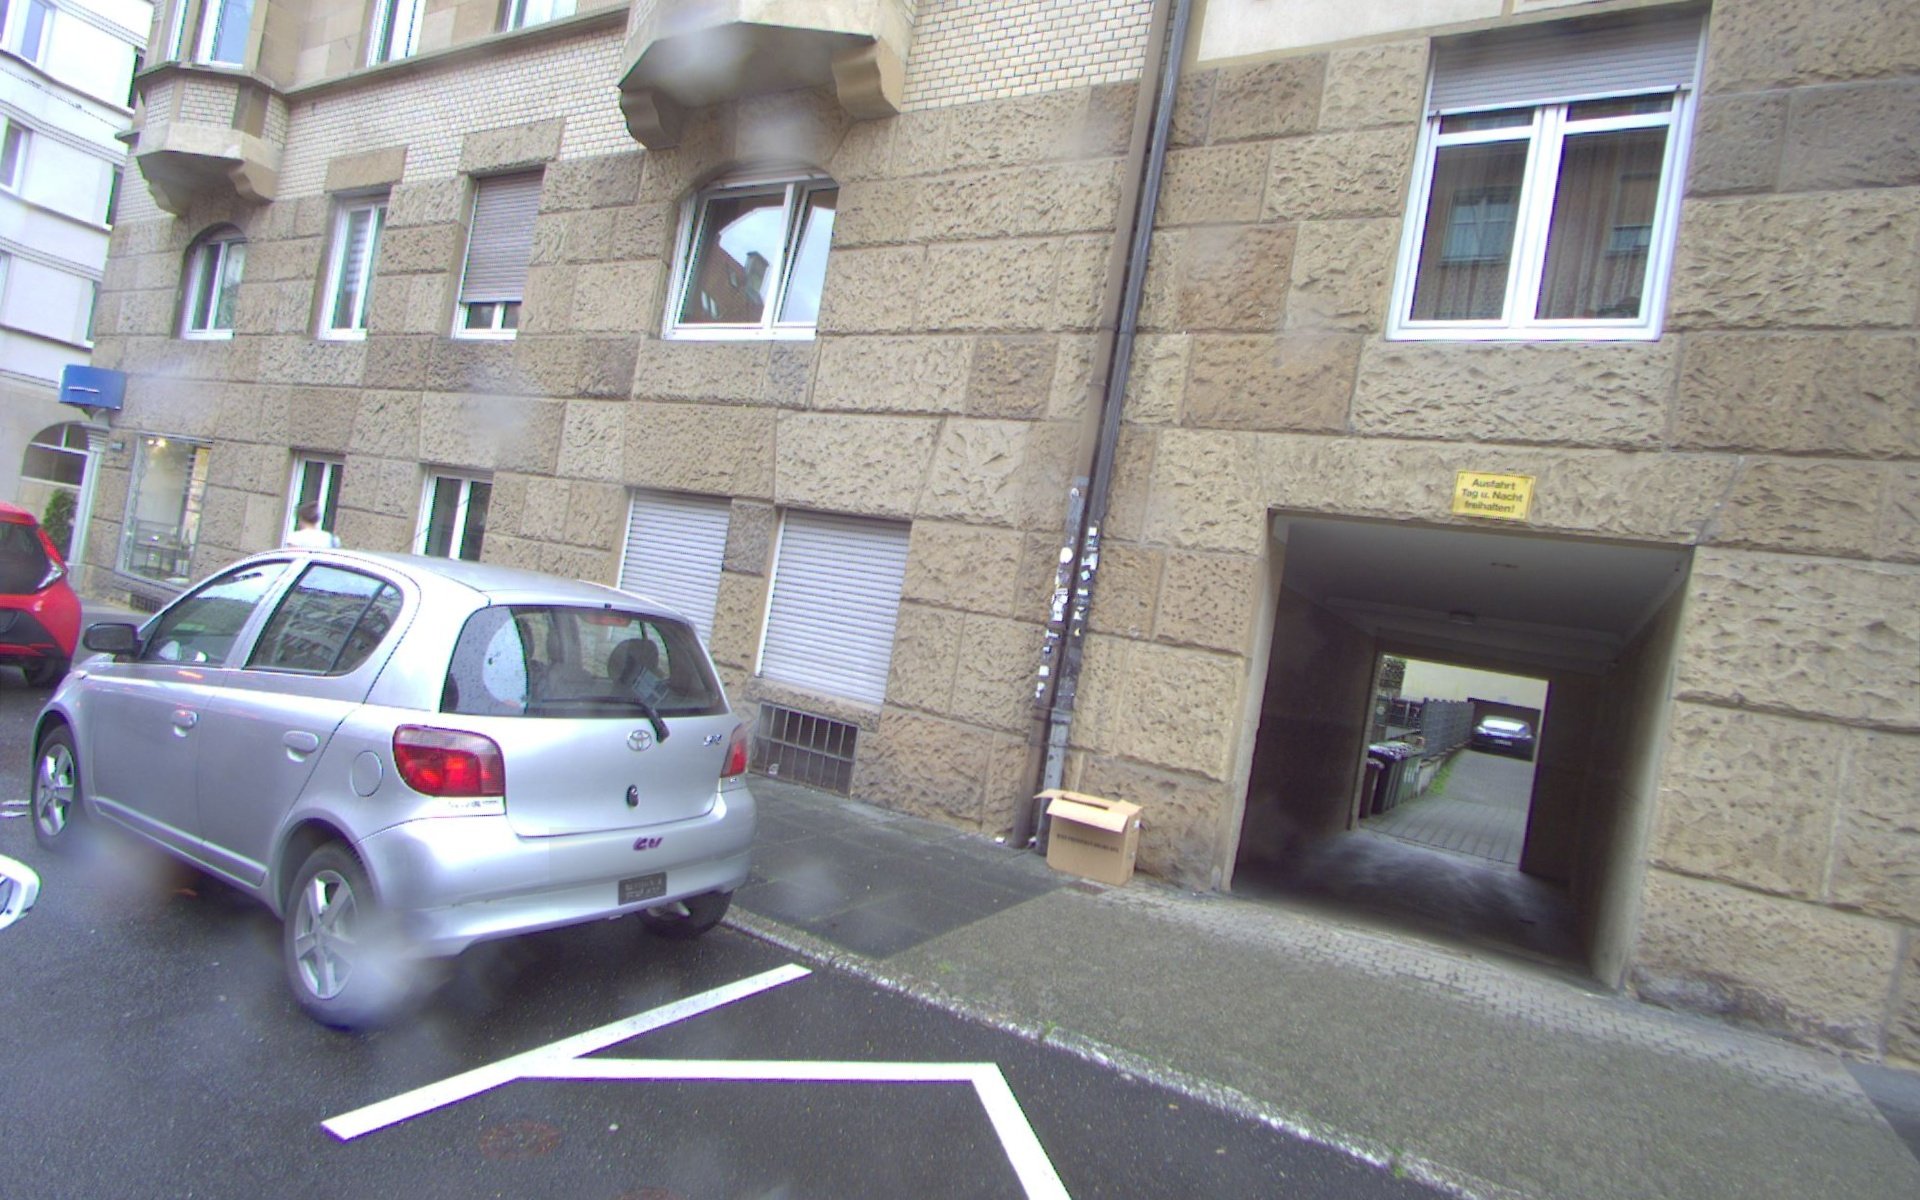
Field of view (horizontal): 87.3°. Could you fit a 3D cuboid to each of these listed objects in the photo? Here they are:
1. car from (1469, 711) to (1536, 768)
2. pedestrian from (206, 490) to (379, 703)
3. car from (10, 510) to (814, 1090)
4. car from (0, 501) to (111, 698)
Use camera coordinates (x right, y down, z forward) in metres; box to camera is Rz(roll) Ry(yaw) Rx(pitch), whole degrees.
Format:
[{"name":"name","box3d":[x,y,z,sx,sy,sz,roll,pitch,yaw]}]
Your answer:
[{"name":"car","box3d":[18.348,4.688,33.944,1.693,1.538,4.102,7,-3,31]},{"name":"pedestrian","box3d":[-6.056,-0.031,9.133,1.093,1.768,0.743,6,-1,32]},{"name":"car","box3d":[-2.478,0.553,4.401,3.258,1.485,1.616,7,0,33]},{"name":"car","box3d":[-8.727,-0.195,8.179,3.243,1.464,1.646,7,-2,29]}]
